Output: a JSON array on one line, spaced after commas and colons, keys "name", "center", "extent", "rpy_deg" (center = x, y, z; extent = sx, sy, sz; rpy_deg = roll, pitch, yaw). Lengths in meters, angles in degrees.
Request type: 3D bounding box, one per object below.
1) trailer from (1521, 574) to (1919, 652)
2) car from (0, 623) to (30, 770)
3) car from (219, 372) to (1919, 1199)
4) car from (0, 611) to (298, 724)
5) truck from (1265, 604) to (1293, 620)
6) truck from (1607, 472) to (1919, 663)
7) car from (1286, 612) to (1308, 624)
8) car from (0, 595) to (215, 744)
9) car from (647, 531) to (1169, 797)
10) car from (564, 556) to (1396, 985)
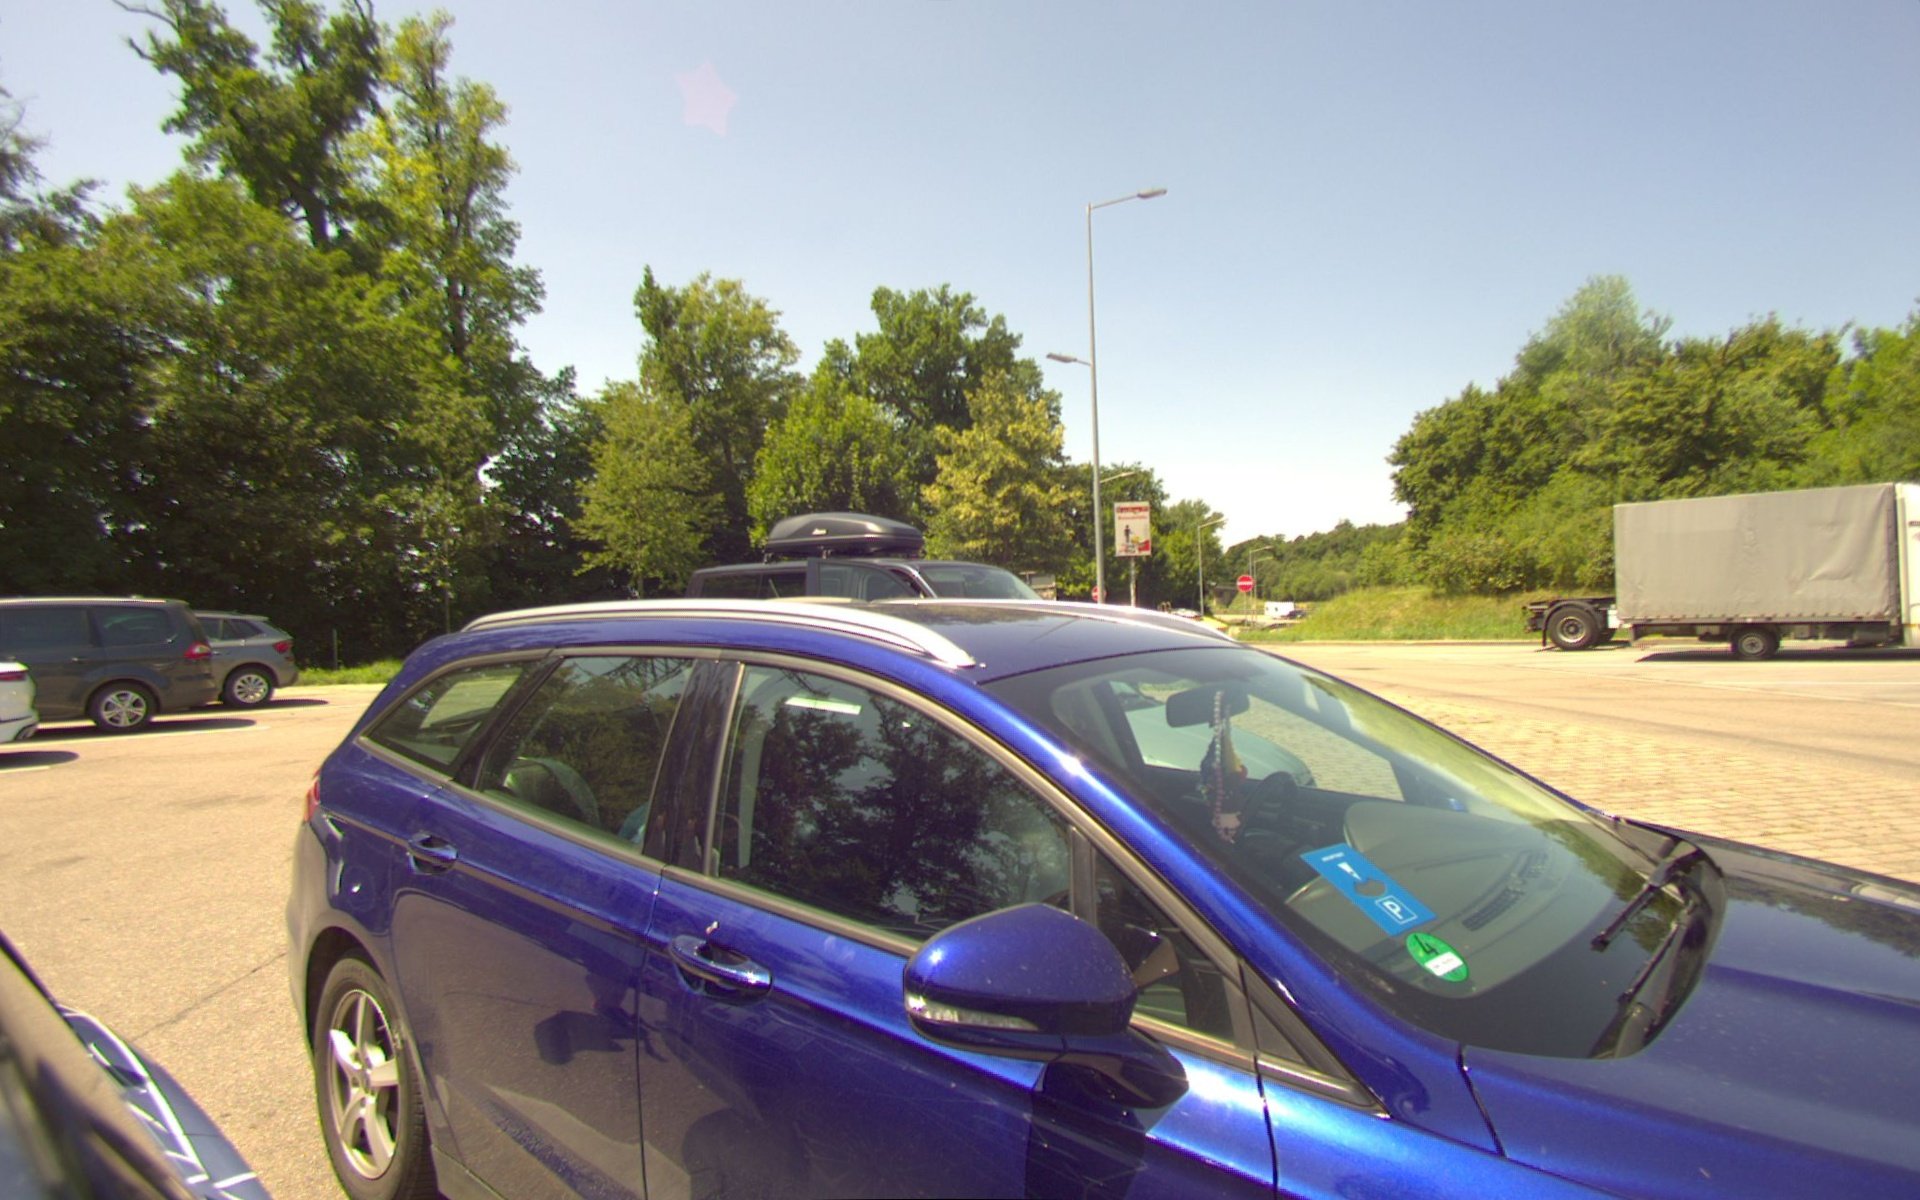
[{"name": "trailer", "center": [17.643, 0.334, 23.155], "extent": [8.088, 1.385, 2.200], "rpy_deg": [-4, -1, 41]}, {"name": "car", "center": [-10.988, 0.934, 9.157], "extent": [3.767, 1.396, 1.722], "rpy_deg": [0, -1, -43]}, {"name": "car", "center": [0.255, 0.634, 2.073], "extent": [4.637, 1.493, 1.720], "rpy_deg": [-2, -1, 39]}, {"name": "car", "center": [-12.586, 0.963, 15.702], "extent": [3.762, 1.551, 1.724], "rpy_deg": [0, -1, -38]}, {"name": "truck", "center": [49.188, 1.846, 156.151], "extent": [2.077, 2.461, 5.573], "rpy_deg": [-1, 0, -4]}, {"name": "truck", "center": [16.715, -0.582, 18.934], "extent": [7.337, 3.235, 2.502], "rpy_deg": [-4, -1, 41]}, {"name": "car", "center": [49.572, 2.655, 149.015], "extent": [1.726, 1.680, 4.003], "rpy_deg": [-1, 0, -4]}, {"name": "car", "center": [-11.647, 0.827, 12.621], "extent": [3.762, 1.737, 1.724], "rpy_deg": [0, -1, -38]}, {"name": "car", "center": [-0.651, 0.516, 9.358], "extent": [4.635, 1.884, 1.937], "rpy_deg": [-2, -1, 37]}, {"name": "car", "center": [-0.207, 0.675, 5.785], "extent": [4.637, 1.545, 1.720], "rpy_deg": [-2, -1, 39]}]
